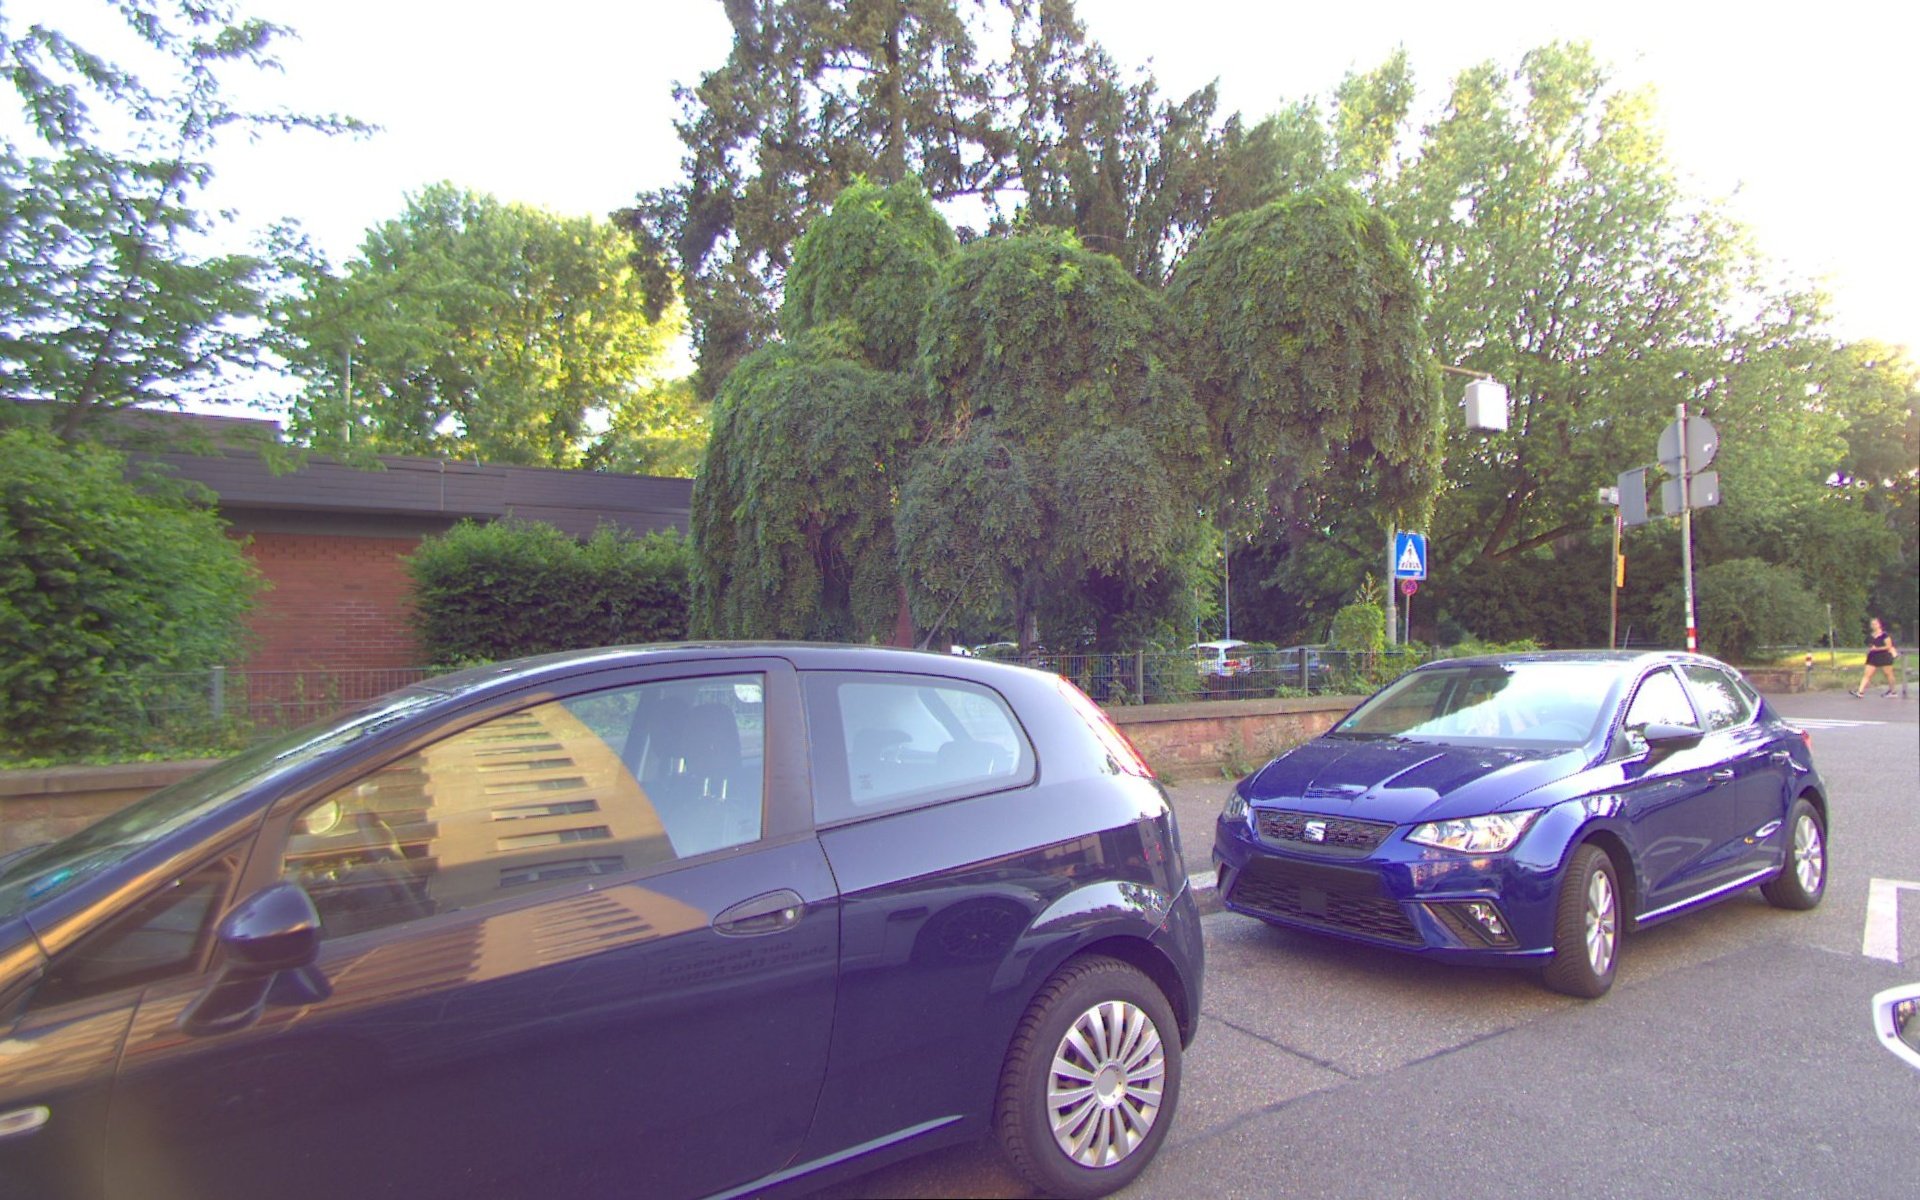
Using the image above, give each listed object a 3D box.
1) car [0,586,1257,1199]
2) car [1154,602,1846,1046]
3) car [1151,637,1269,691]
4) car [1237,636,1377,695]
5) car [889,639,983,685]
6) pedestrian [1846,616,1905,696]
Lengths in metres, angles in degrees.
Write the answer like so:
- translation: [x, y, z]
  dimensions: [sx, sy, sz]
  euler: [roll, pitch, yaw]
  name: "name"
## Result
- translation: [-1.136, 0.838, 2.637]
  dimensions: [3.659, 1.587, 1.723]
  euler: [1, -4, -34]
  name: "car"
- translation: [3.015, 0.879, 5.407]
  dimensions: [3.752, 1.587, 1.723]
  euler: [1, -4, -35]
  name: "car"
- translation: [8.671, 2.232, 35.183]
  dimensions: [1.800, 1.583, 3.856]
  euler: [-6, 0, -27]
  name: "car"
- translation: [10.553, 1.977, 30.811]
  dimensions: [1.798, 1.511, 3.843]
  euler: [-6, 0, -24]
  name: "car"
- translation: [-0.971, 2.369, 38.176]
  dimensions: [1.801, 1.564, 4.212]
  euler: [4, -5, -28]
  name: "car"
- translation: [19.516, 1.182, 21.419]
  dimensions: [0.660, 1.671, 0.649]
  euler: [0, 0, 3]
  name: "pedestrian"
